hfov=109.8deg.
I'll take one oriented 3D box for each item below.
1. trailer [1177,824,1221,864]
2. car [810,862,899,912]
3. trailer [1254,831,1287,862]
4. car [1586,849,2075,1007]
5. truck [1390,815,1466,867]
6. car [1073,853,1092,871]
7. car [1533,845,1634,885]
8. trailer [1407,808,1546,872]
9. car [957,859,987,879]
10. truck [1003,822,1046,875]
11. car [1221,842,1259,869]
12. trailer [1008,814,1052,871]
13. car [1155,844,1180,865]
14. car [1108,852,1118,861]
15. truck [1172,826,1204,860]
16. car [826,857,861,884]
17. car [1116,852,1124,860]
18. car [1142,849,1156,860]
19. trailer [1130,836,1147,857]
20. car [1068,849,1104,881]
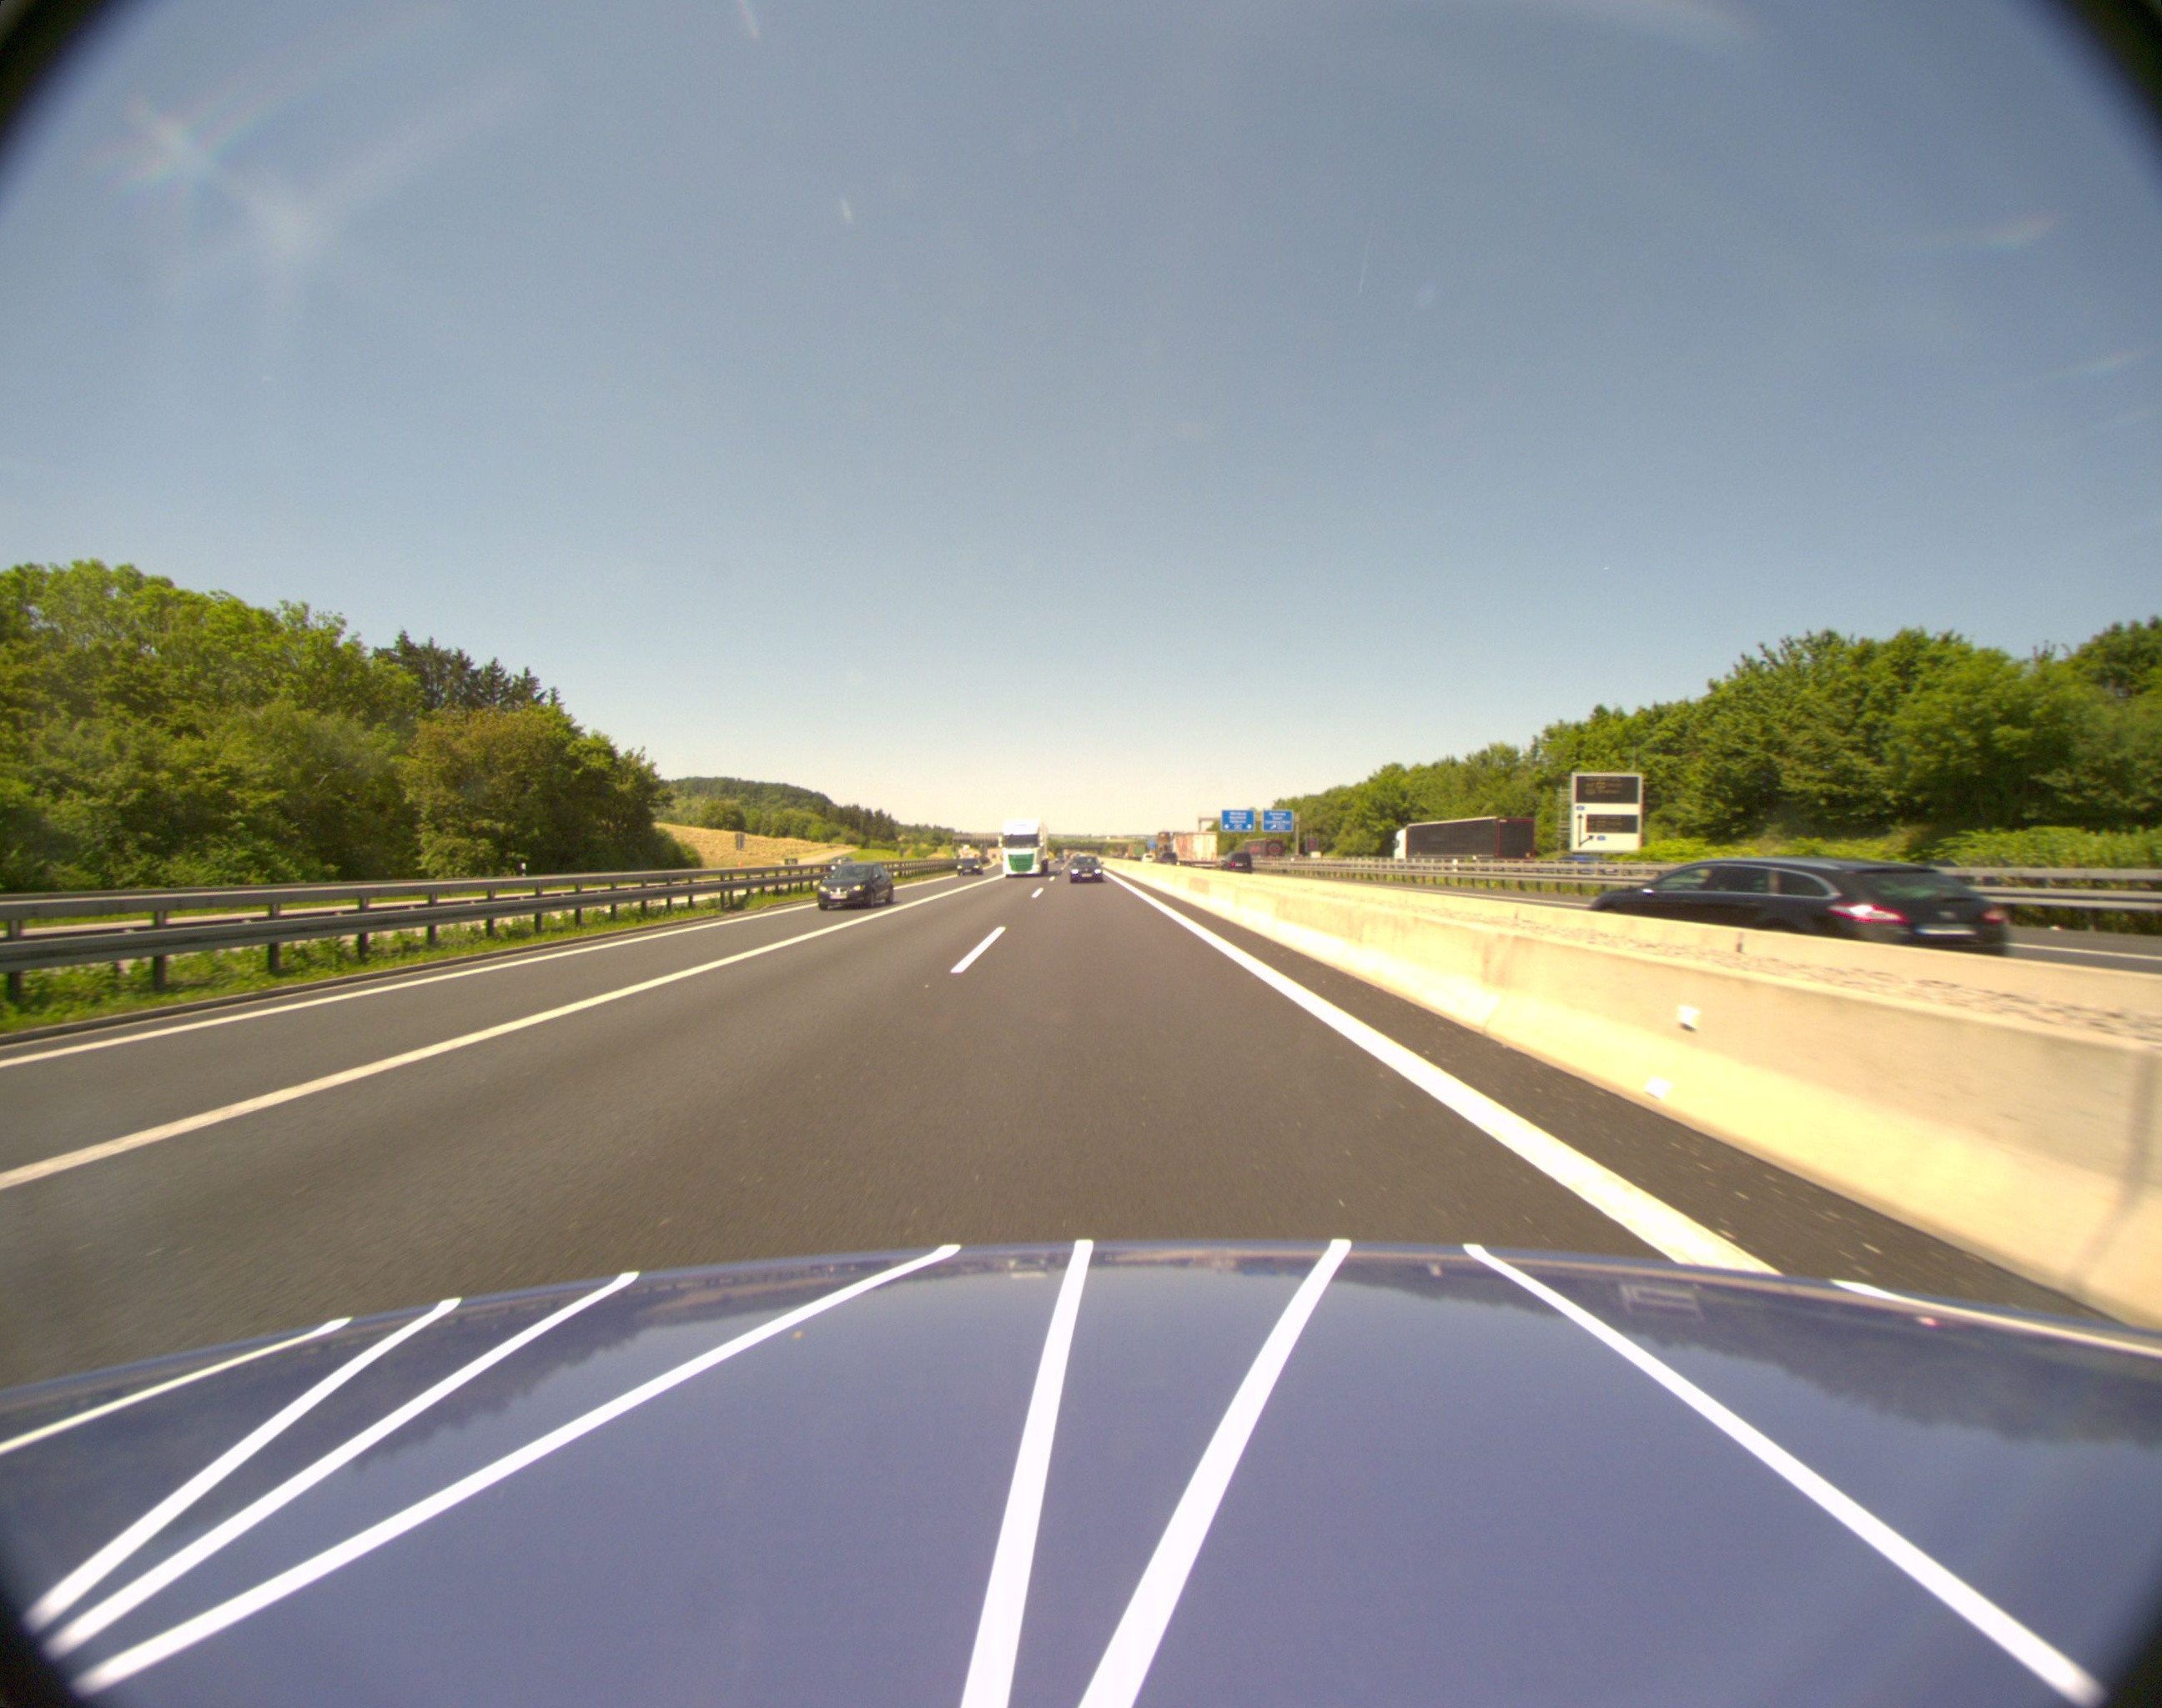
[{"bbox_3d":[12.759,-1.122,83.535,2.917,4.022,12.061,-1,1,0],"label":"trailer"},{"bbox_3d":[-7.311,1.027,24.884,1.781,1.392,3.760,-1,1,0],"label":"car"},{"bbox_3d":[28.659,-1.215,115.558,2.800,4.408,11.655,-1,1,4],"label":"trailer"},{"bbox_3d":[8.957,0.721,9.822,1.733,1.527,4.612,-1,0,-1],"label":"car"},{"bbox_3d":[28.614,-1.056,62.960,3.228,4.022,6.638,-1,1,0],"label":"truck"},{"bbox_3d":[0.169,0.911,87.266,1.999,2.002,3.999,-1,1,0],"label":"car"},{"bbox_3d":[24.579,0.495,37.376,1.999,1.846,4.429,0,0,0],"label":"car"},{"bbox_3d":[28.603,-0.981,56.108,3.228,4.022,13.534,-1,1,0],"label":"trailer"},{"bbox_3d":[-8.931,1.175,62.434,1.892,1.464,3.866,-2,1,-1],"label":"car"},{"bbox_3d":[-3.917,-0.396,53.495,2.649,3.572,4.403,-2,1,-1],"label":"truck"},{"bbox_3d":[12.261,0.081,58.804,1.998,2.002,4.484,-1,1,1],"label":"car"},{"bbox_3d":[-4.031,-0.875,63.154,2.663,4.164,14.892,-2,0,-1],"label":"trailer"},{"bbox_3d":[8.648,0.031,76.069,2.056,2.002,4.954,-1,1,1],"label":"car"},{"bbox_3d":[7.113,0.498,170.033,1.989,1.816,4.825,-2,1,-2],"label":"car"},{"bbox_3d":[12.777,-1.294,91.053,2.936,3.950,5.897,-1,1,0],"label":"truck"},{"bbox_3d":[-18.943,1.261,60.697,2.000,2.002,3.996,-2,1,-9],"label":"car"},{"bbox_3d":[11.037,0.528,215.635,1.923,2.002,5.345,0,0,0],"label":"car"},{"bbox_3d":[12.007,0.081,135.183,1.746,1.816,4.901,-2,1,-3],"label":"car"},{"bbox_3d":[12.515,-1.608,166.151,2.674,4.248,13.812,-1,1,0],"label":"trailer"},{"bbox_3d":[0.231,0.538,41.024,1.799,1.574,3.999,-2,1,-1],"label":"car"}]
